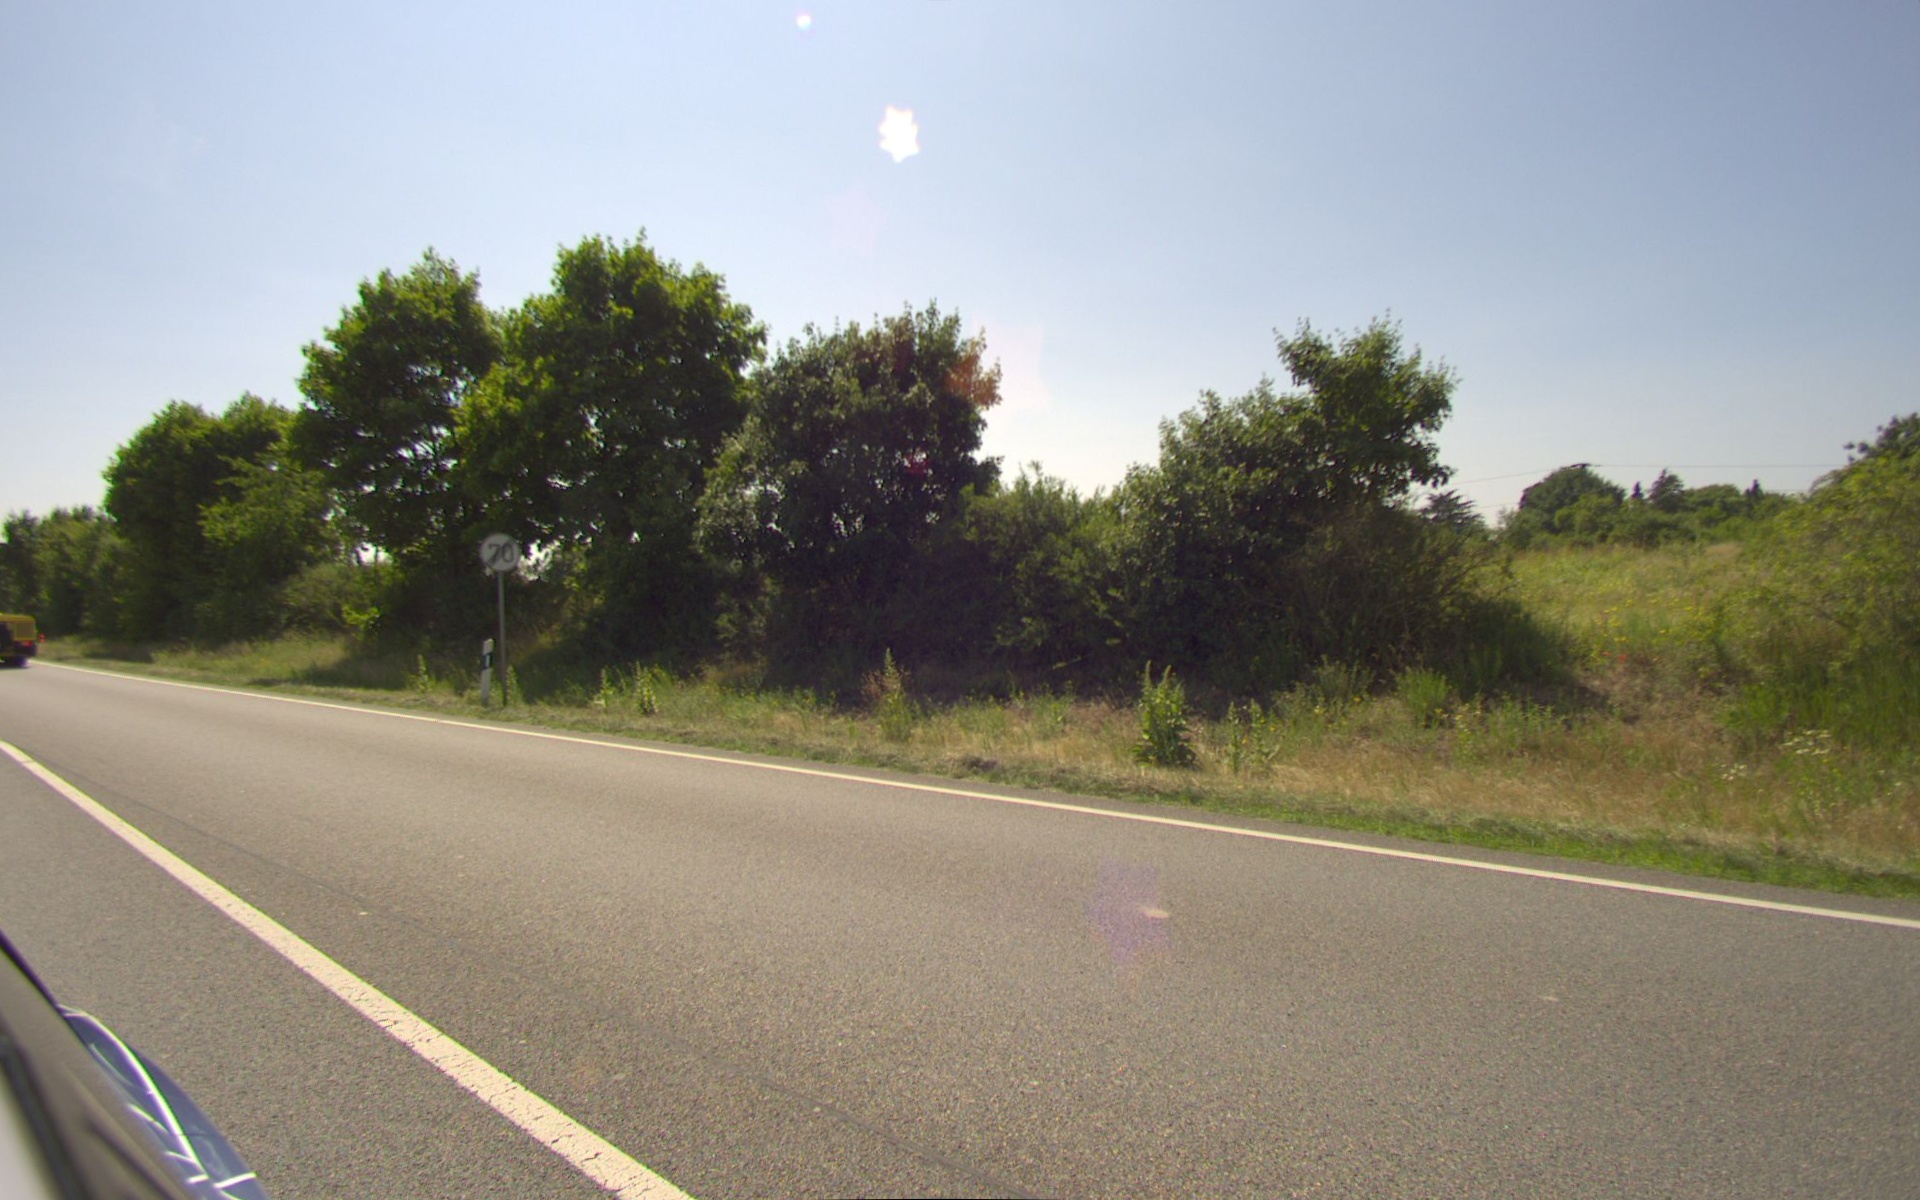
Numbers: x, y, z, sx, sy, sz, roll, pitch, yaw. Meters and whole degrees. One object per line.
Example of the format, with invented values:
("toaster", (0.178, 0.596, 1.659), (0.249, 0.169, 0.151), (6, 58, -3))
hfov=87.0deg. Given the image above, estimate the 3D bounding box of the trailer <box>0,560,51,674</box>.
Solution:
("trailer", (-35.115, 0.691, 35.600), (14.936, 3.486, 2.635), (-2, -1, 40))
